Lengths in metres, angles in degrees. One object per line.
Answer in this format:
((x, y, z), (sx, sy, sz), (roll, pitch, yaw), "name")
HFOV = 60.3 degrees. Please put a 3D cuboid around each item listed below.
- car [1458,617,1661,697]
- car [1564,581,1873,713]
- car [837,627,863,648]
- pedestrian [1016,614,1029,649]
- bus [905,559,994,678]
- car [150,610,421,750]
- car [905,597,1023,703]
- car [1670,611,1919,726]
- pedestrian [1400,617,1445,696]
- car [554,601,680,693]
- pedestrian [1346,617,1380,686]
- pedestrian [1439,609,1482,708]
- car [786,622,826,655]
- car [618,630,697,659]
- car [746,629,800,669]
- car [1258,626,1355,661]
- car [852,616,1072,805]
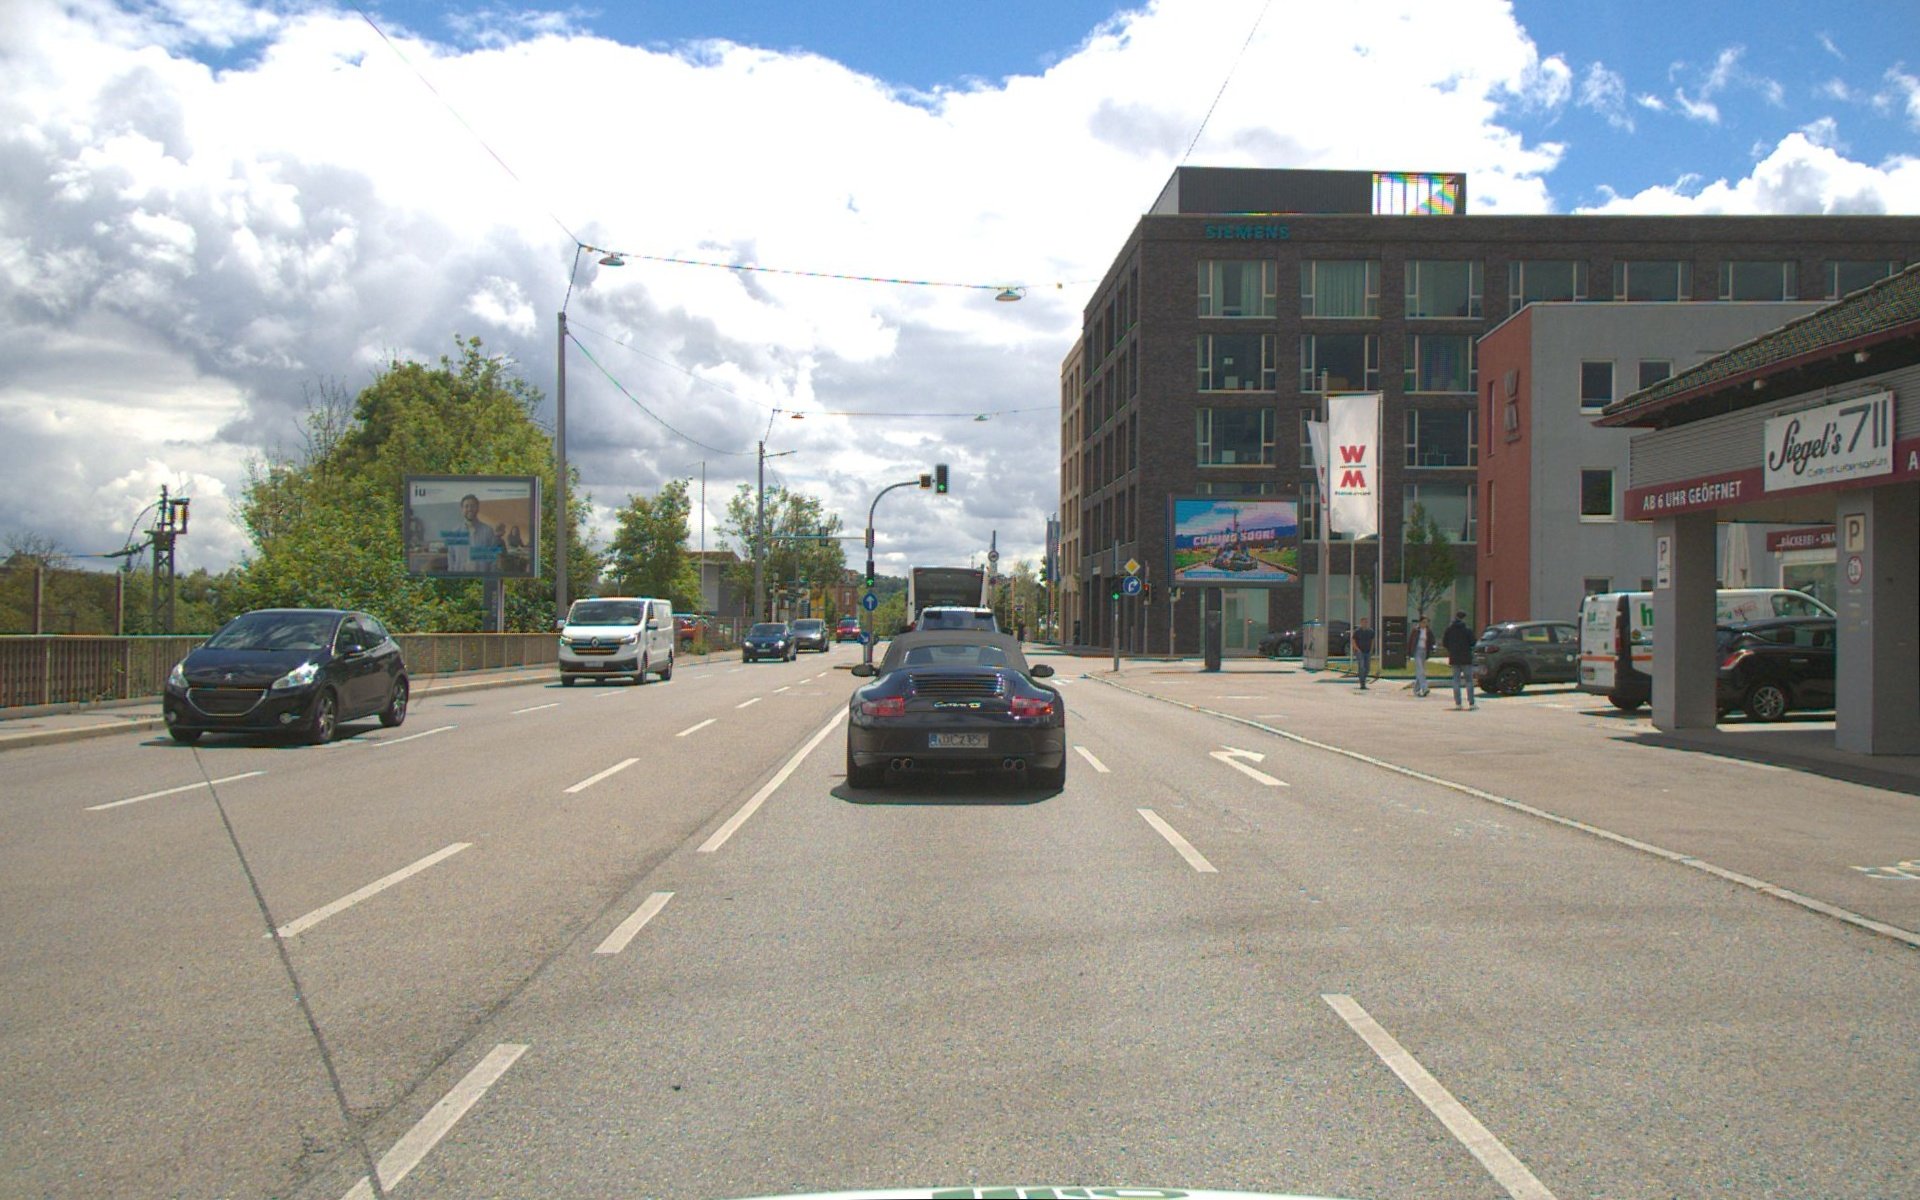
((12.859, 1.203, 35.649), (3.683, 1.466, 1.719), (-3, -1, 0), "car")
((12.549, 0.766, 27.570), (4.144, 1.970, 2.029), (-2, -1, 0), "car")
((-7.914, 2.700, 118.839), (1.629, 1.440, 3.802), (0, -1, -1), "car")
((3.648, 1.853, 96.466), (0.653, 2.049, 0.768), (0, -1, -3), "pedestrian")
((-0.333, 0.421, 56.851), (2.634, 3.311, 12.060), (2, 2, 0), "bus")
((-7.760, 0.875, 19.439), (1.595, 1.456, 3.999), (1, -1, -1), "car")
((-0.006, 0.841, 29.724), (1.842, 1.621, 4.227), (2, 1, -3), "car")
((13.034, 0.973, 24.473), (4.213, 1.539, 1.846), (-2, -2, -1), "car")
((10.224, 1.242, 36.605), (0.693, 1.726, 0.923), (1, -1, -4), "pedestrian")
((-7.842, 1.050, 38.345), (1.863, 1.920, 5.311), (-2, -1, -1), "car")
((9.985, 1.263, 40.983), (0.657, 1.690, 0.742), (0, -1, -2), "pedestrian")
((8.900, 1.029, 29.397), (0.666, 1.726, 0.598), (0, -1, 24), "pedestrian")
((-7.577, 1.880, 81.639), (1.629, 1.574, 3.802), (0, -1, -1), "car")
((-13.704, 2.007, 75.007), (3.448, 1.286, 1.386), (0, -1, -11), "car")
((-7.037, 1.819, 62.414), (1.629, 1.440, 3.802), (0, -1, -1), "car")
((14.777, 1.866, 70.601), (3.850, 1.456, 1.473), (0, -1, -1), "car")
((-0.003, 0.879, 14.902), (1.685, 1.297, 4.088), (1, 1, -1), "car")
